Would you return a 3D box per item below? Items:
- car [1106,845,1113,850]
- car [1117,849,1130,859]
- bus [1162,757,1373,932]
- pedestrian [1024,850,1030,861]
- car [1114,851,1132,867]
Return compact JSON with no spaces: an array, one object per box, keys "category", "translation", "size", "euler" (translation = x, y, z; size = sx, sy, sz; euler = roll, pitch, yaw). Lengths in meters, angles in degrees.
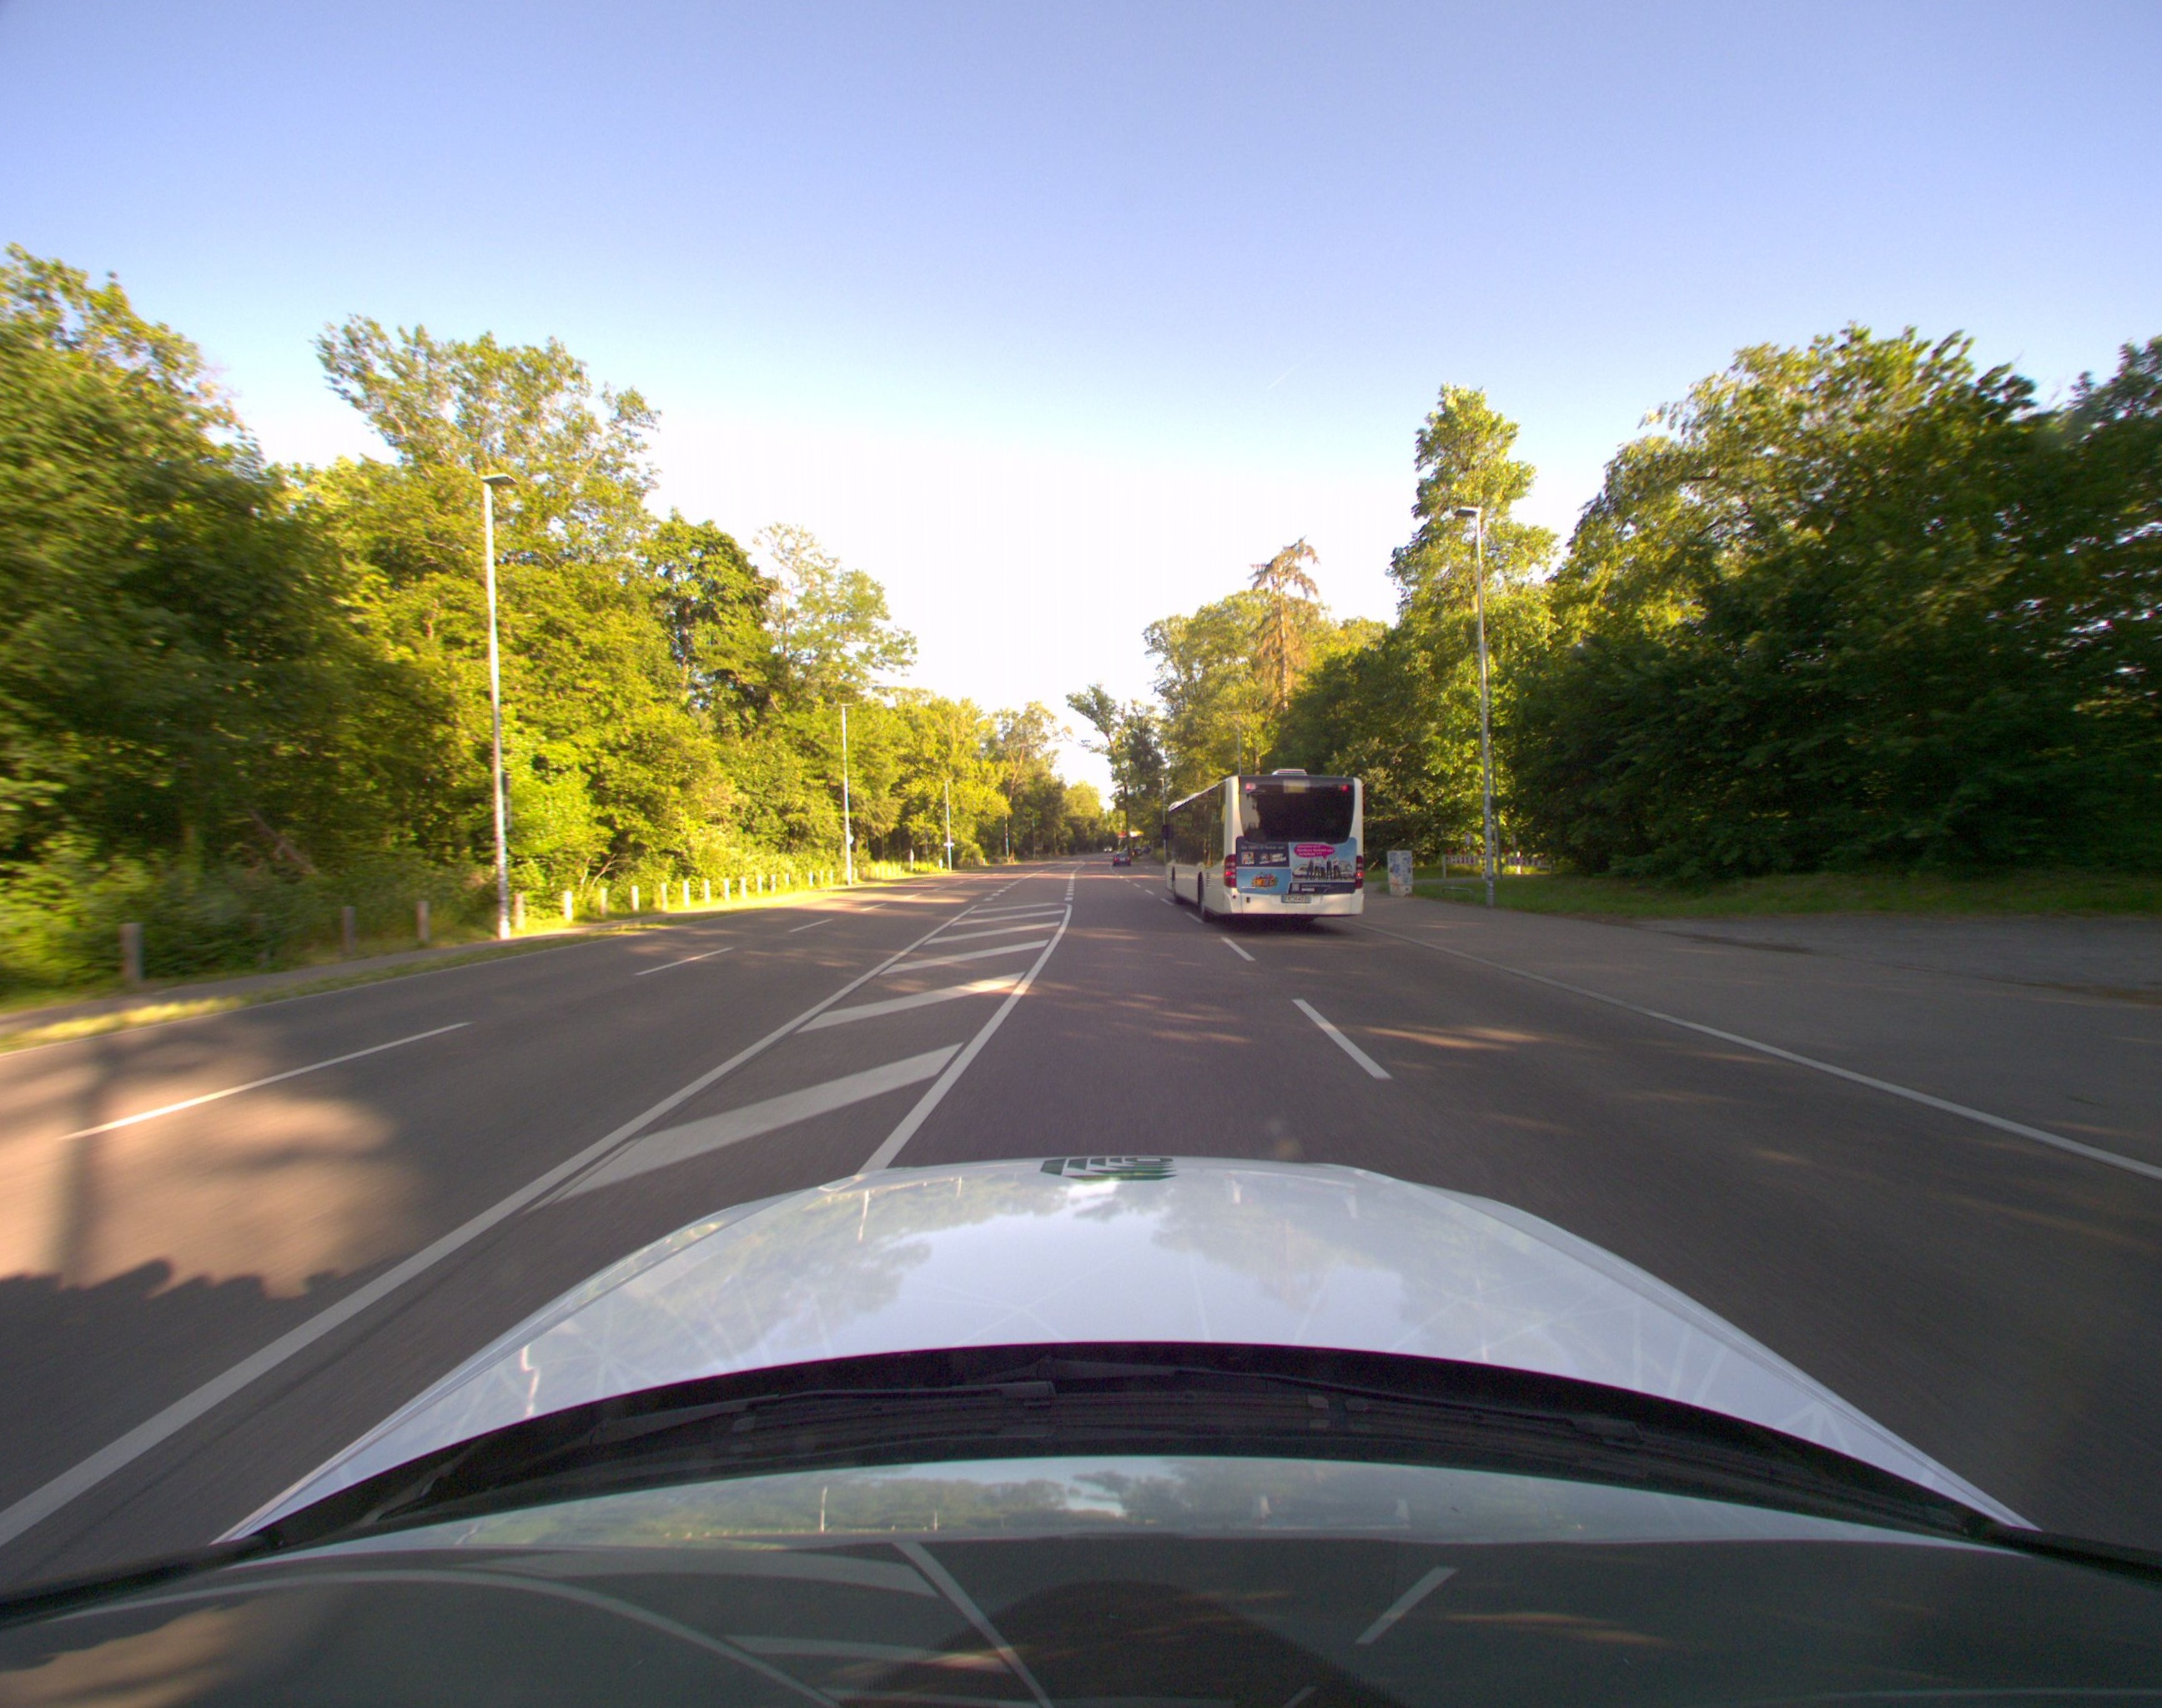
[{"category":"car","translation":[8.025,-1.828,228.587],"size":[1.854,1.537,4.137],"euler":[-1,0,5]},{"category":"car","translation":[7.063,0.018,134.244],"size":[1.621,1.658,4.144],"euler":[-1,0,10]},{"category":"bus","translation":[3.885,-0.163,20.341],"size":[2.680,3.042,12.043],"euler":[-1,0,1]},{"category":"pedestrian","translation":[-8.879,0.212,133.597],"size":[0.776,1.812,0.770],"euler":[-1,0,1]},{"category":"car","translation":[4.280,0.456,82.568],"size":[1.624,1.547,4.137],"euler":[-1,0,5]}]
